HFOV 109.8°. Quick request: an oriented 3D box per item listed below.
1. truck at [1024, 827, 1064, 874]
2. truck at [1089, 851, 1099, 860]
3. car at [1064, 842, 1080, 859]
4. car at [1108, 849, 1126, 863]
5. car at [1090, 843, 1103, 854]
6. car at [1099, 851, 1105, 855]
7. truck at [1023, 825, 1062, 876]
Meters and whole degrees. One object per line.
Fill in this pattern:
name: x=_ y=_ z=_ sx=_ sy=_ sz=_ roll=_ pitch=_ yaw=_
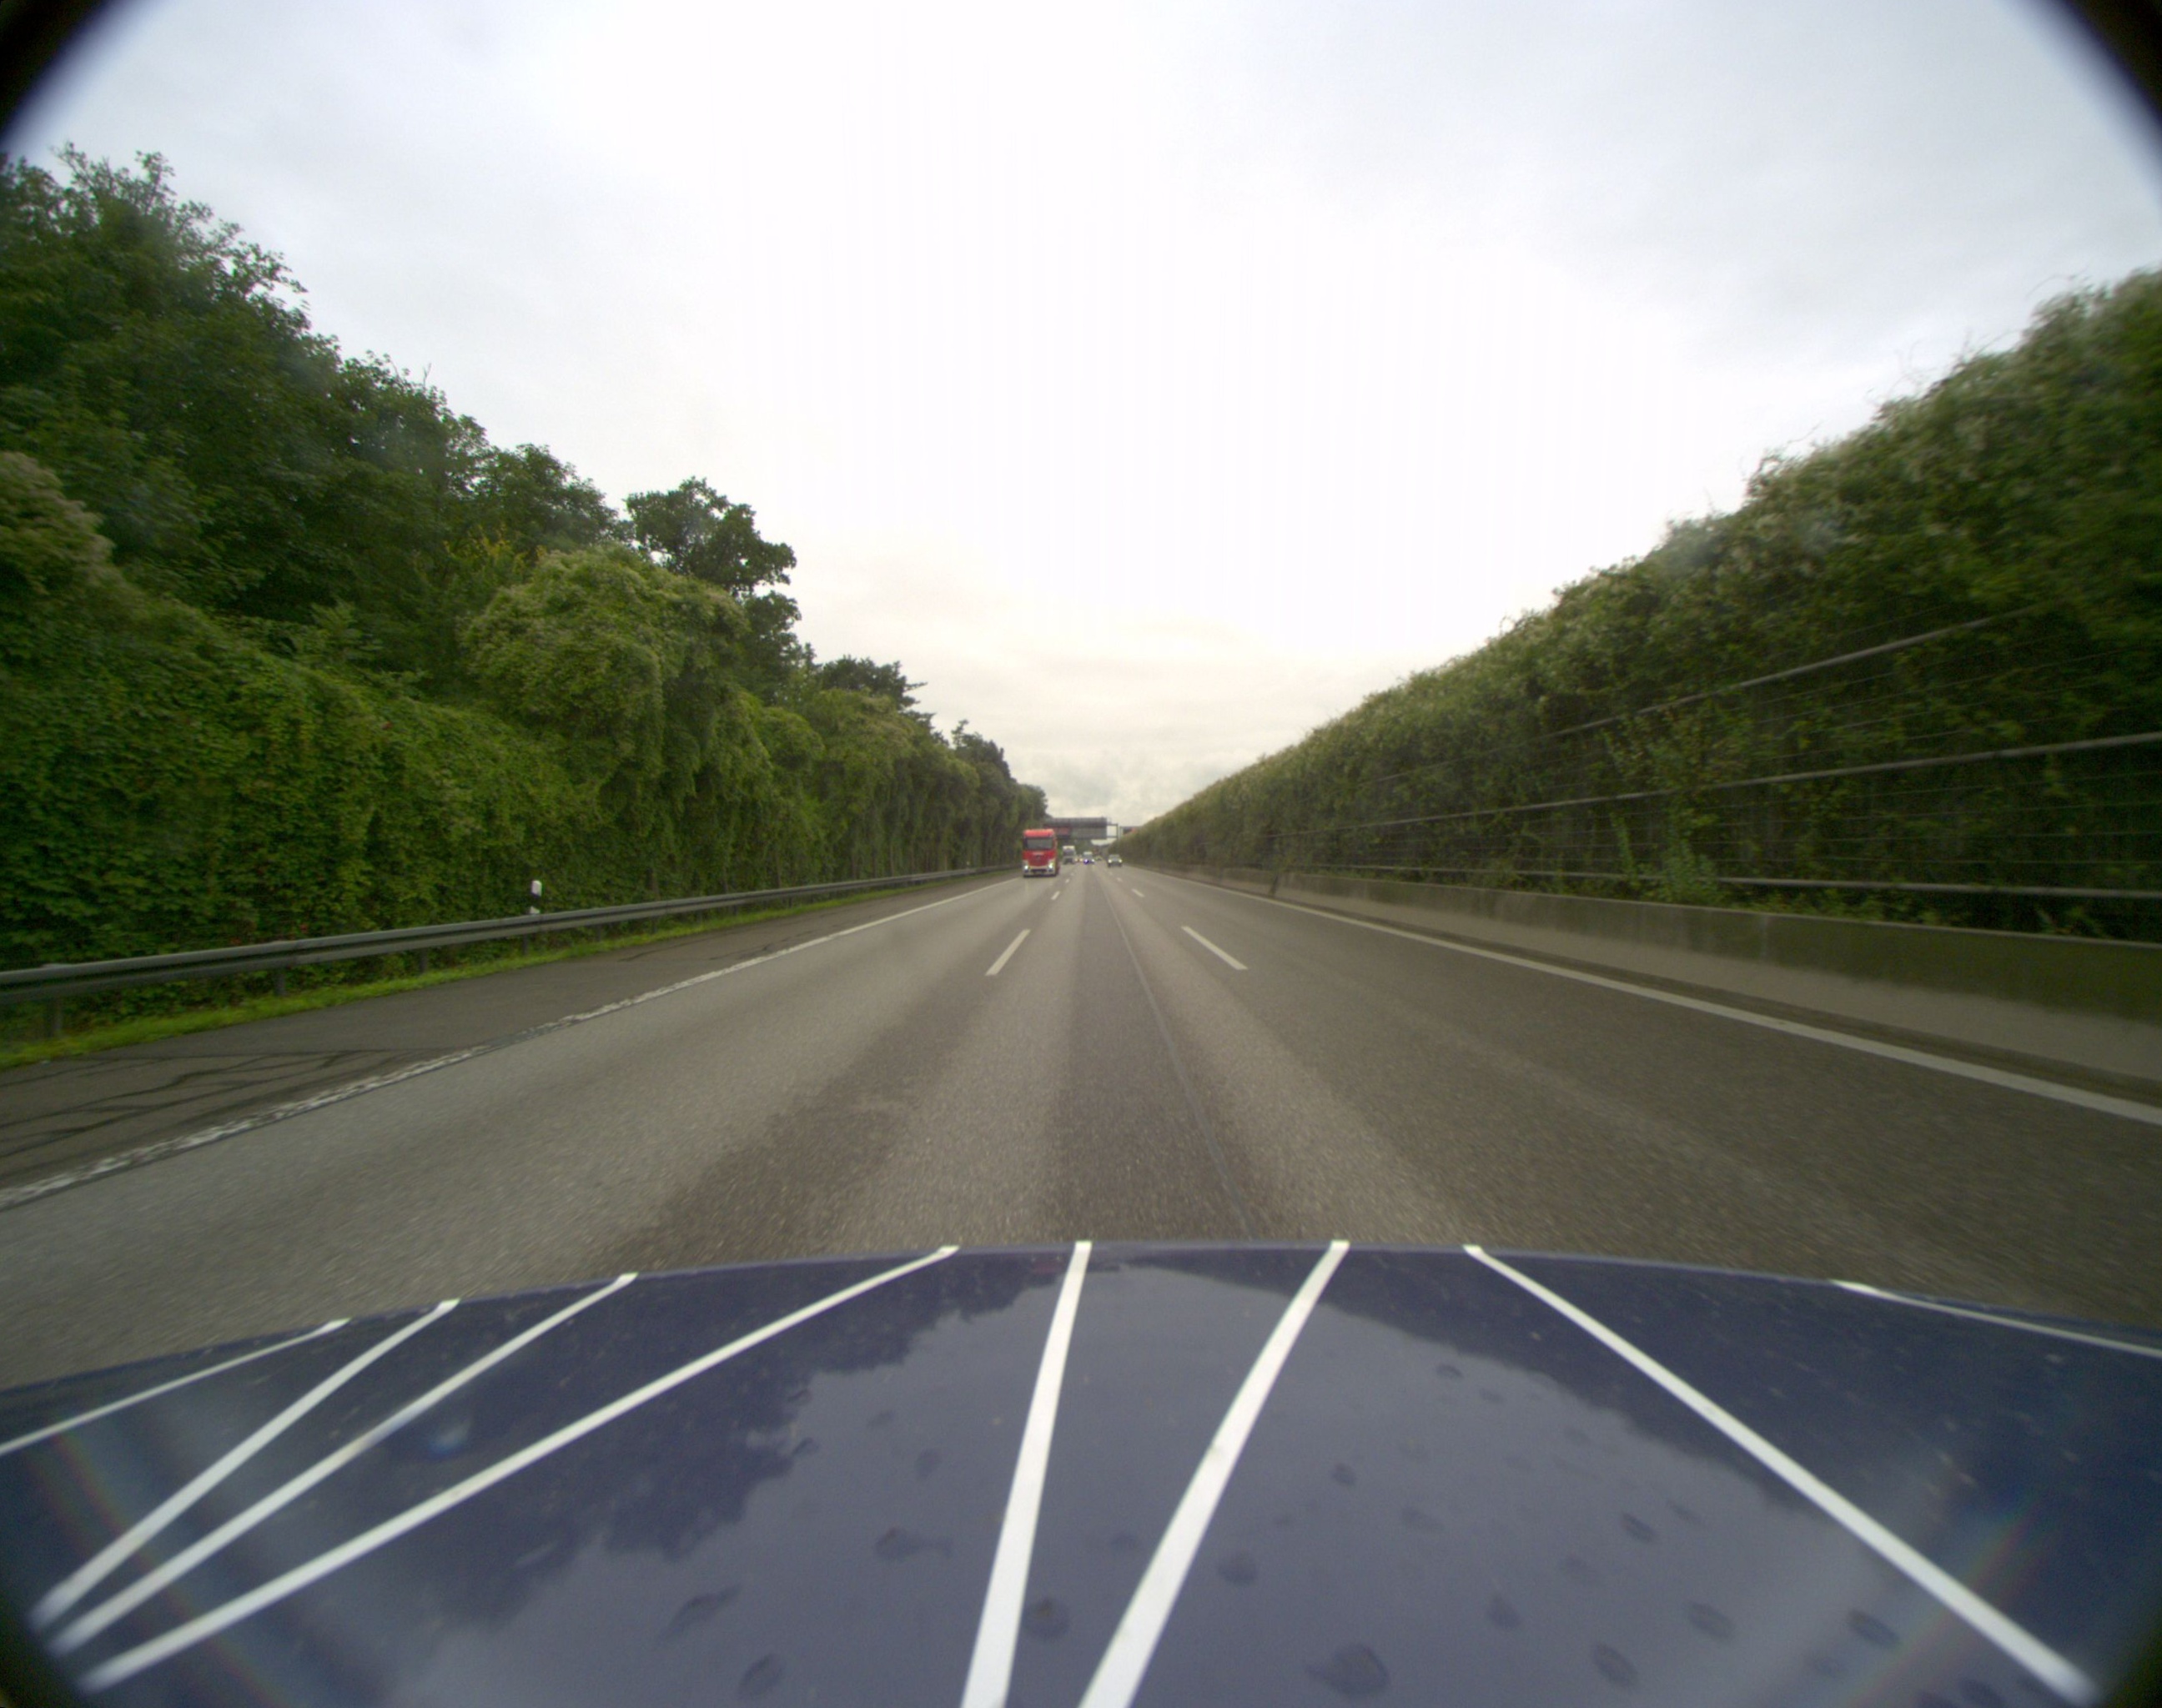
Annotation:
truck: x=-3.025 y=-0.412 z=64.761 sx=2.709 sy=3.691 sz=9.838 roll=-2 pitch=2 yaw=0
truck: x=2.568 y=0.324 z=144.869 sx=1.825 sy=1.535 sz=3.999 roll=-2 pitch=2 yaw=1
car: x=-1.800 y=-0.723 z=159.729 sx=3.039 sy=3.278 sz=6.733 roll=-2 pitch=1 yaw=1
car: x=4.848 y=0.265 z=103.095 sx=2.023 sy=1.595 sz=5.438 roll=-4 pitch=1 yaw=0
car: x=3.357 y=-1.286 z=169.495 sx=2.769 sy=2.227 sz=6.546 roll=-2 pitch=1 yaw=1
car: x=6.953 y=-0.279 z=250.293 sx=1.751 sy=1.368 sz=4.000 roll=-1 pitch=0 yaw=1
truck: x=-2.982 y=-0.295 z=60.003 sx=2.709 sy=3.809 sz=4.197 roll=-2 pitch=2 yaw=0
